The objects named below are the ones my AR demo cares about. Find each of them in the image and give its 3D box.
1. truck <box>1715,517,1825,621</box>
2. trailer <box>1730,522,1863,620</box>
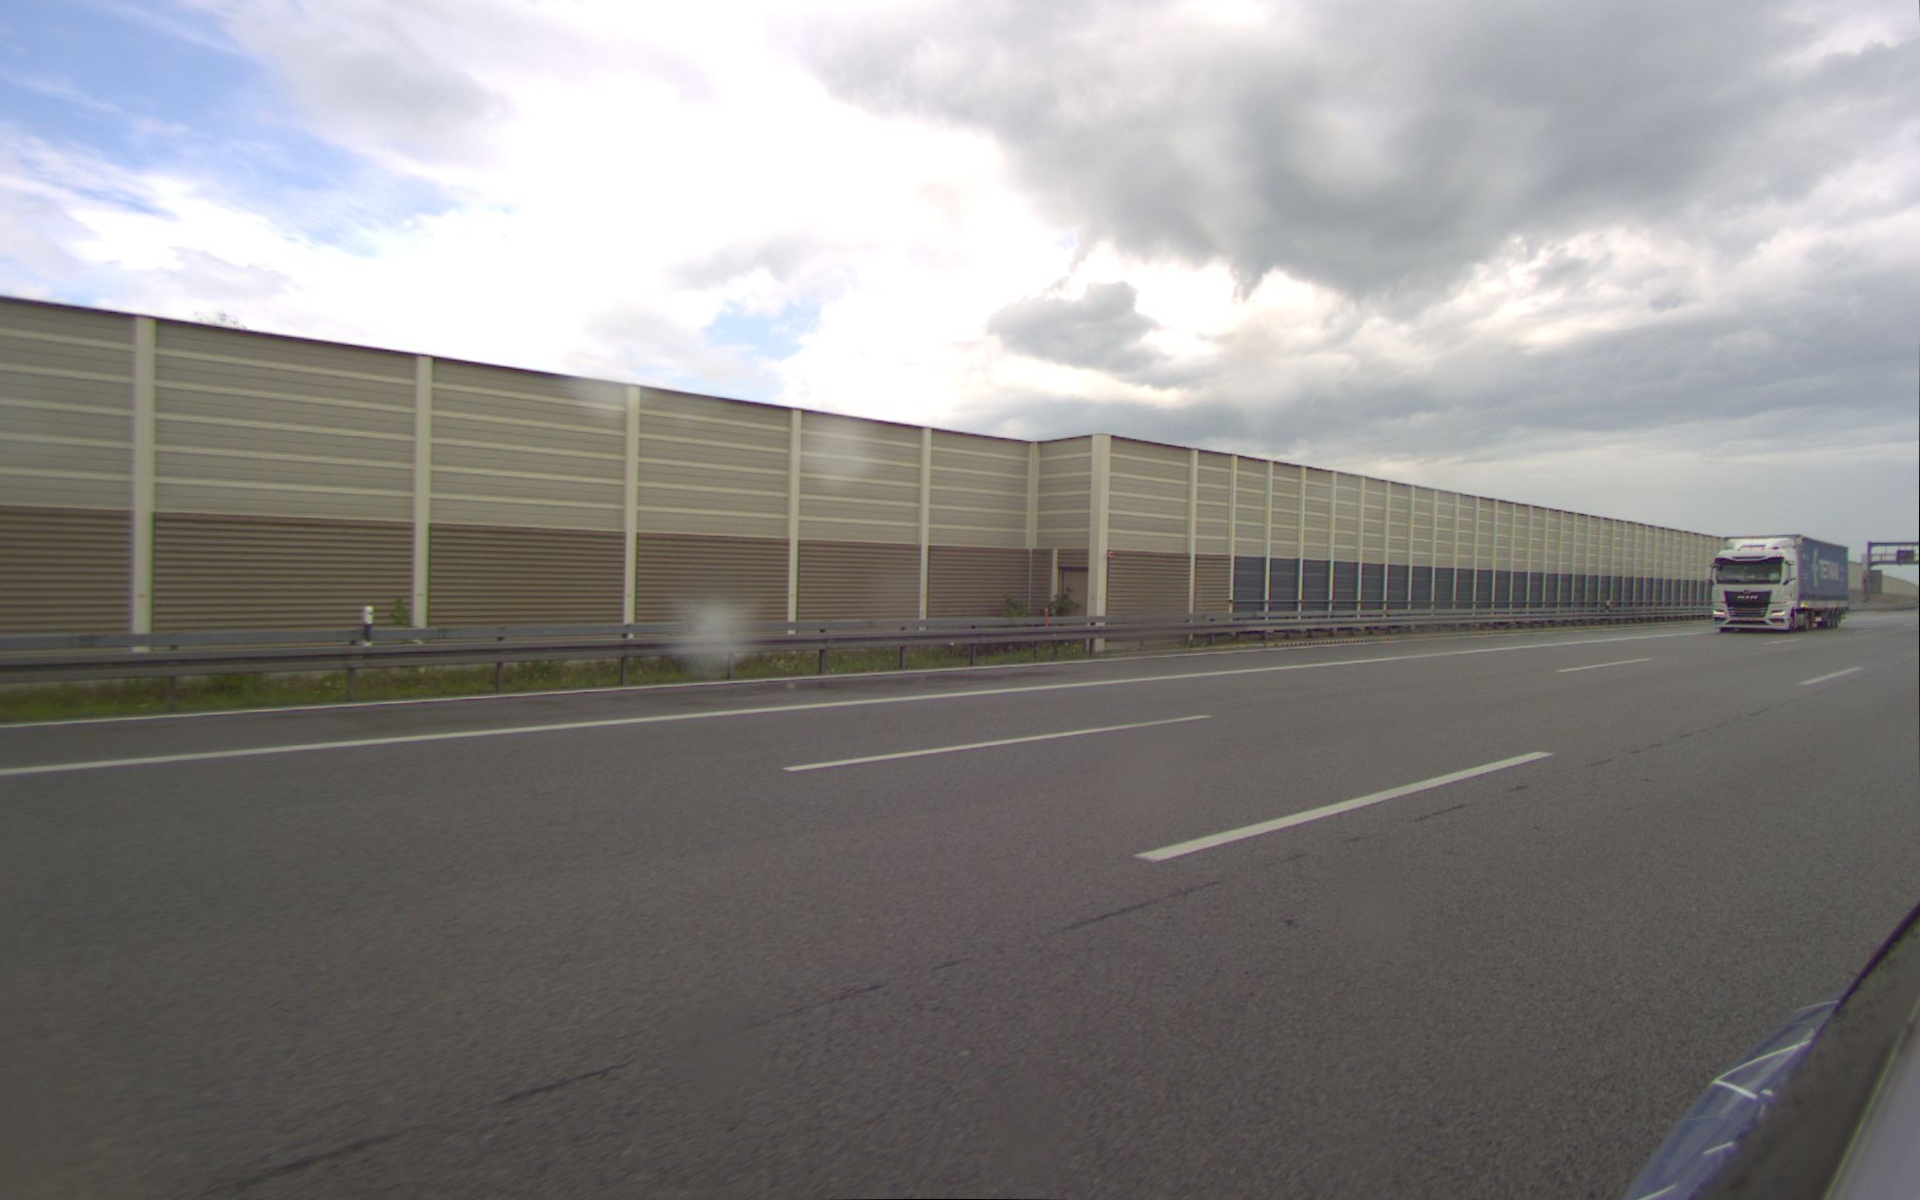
[{"bbox_3d":[34.419,-1.249,42.941,5.627,4.086,2.749,0,0,-42],"label":"truck"},{"bbox_3d":[39.640,-1.224,47.658,14.204,4.083,2.765,0,0,-42],"label":"trailer"}]
